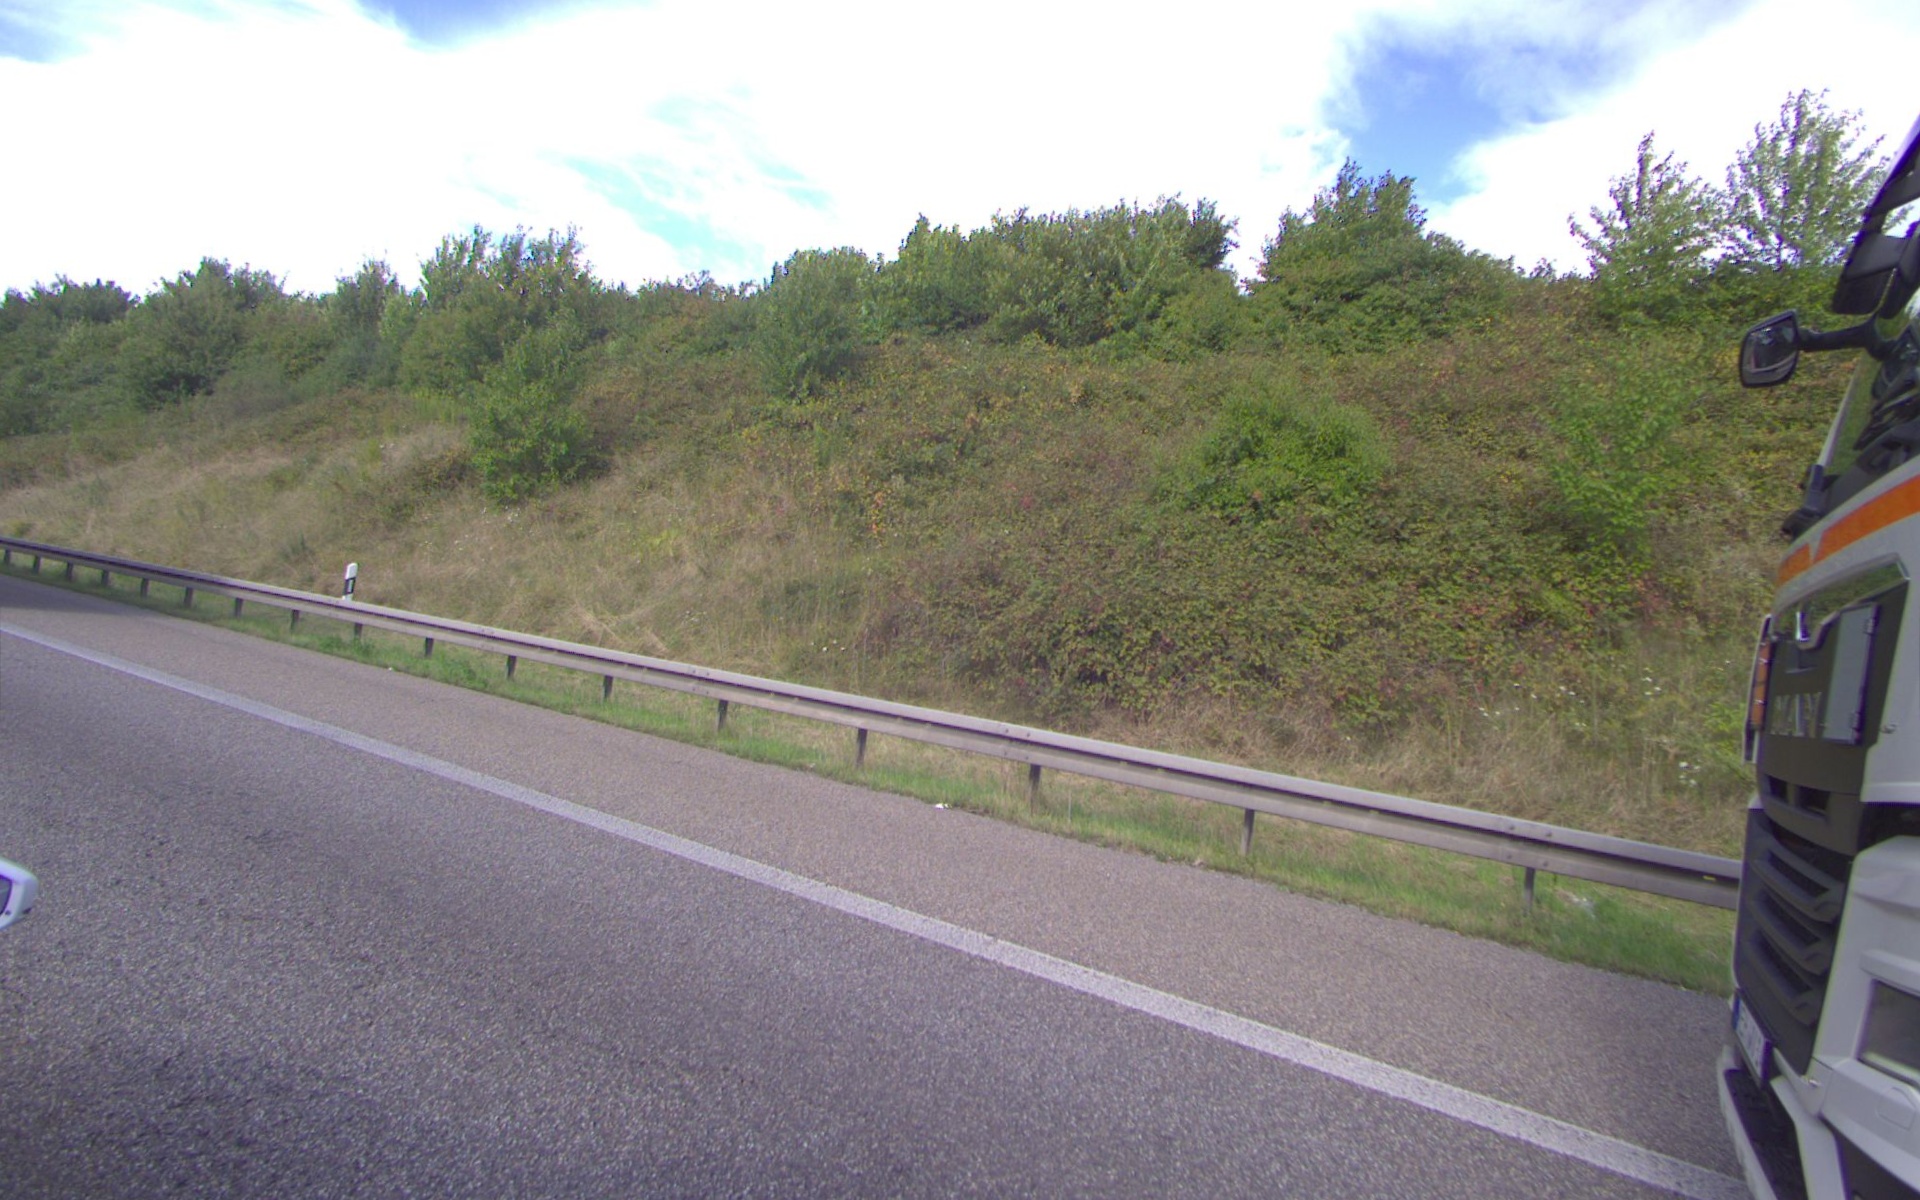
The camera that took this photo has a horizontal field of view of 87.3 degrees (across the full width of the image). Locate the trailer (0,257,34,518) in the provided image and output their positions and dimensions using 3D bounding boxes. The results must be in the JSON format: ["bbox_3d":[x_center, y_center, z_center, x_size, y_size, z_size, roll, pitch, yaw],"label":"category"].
[{"bbox_3d":[-19.159,-2.969,15.809,13.069,4.716,3.007,7,-1,32],"label":"trailer"}]

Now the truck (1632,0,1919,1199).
[{"bbox_3d":[4.634,0.029,1.301,5.808,4.091,2.806,6,-1,33],"label":"truck"}]
